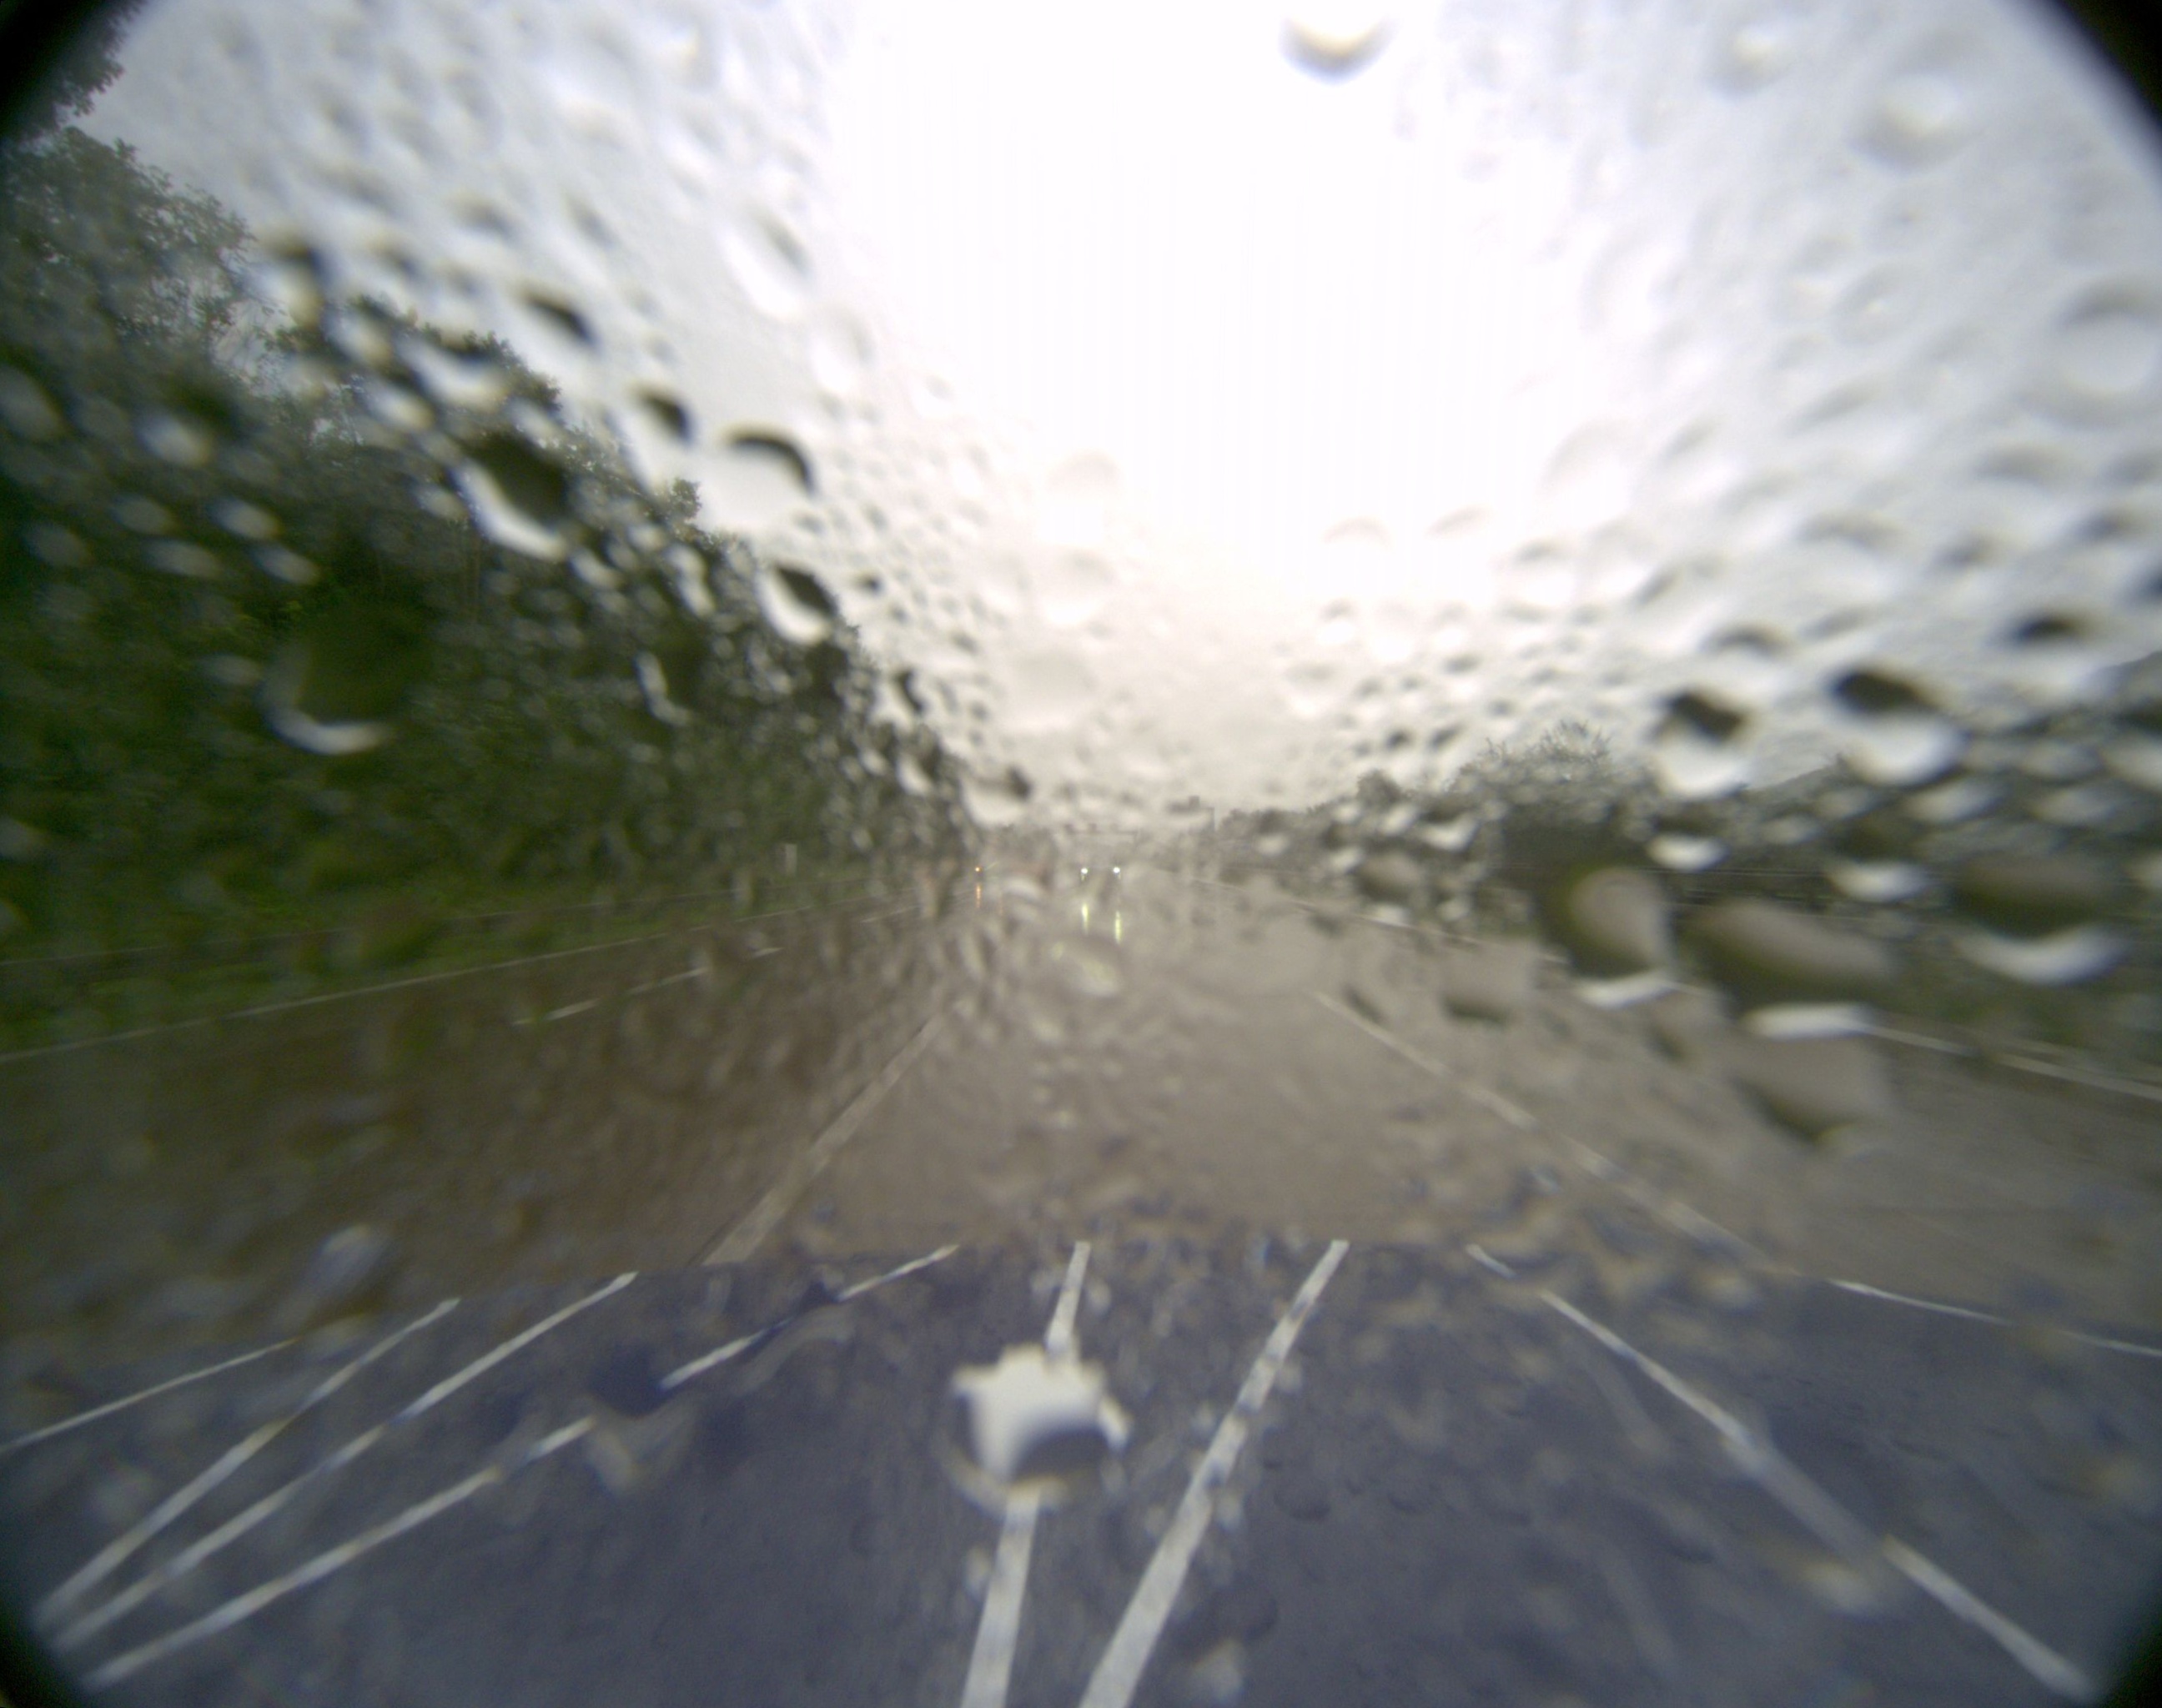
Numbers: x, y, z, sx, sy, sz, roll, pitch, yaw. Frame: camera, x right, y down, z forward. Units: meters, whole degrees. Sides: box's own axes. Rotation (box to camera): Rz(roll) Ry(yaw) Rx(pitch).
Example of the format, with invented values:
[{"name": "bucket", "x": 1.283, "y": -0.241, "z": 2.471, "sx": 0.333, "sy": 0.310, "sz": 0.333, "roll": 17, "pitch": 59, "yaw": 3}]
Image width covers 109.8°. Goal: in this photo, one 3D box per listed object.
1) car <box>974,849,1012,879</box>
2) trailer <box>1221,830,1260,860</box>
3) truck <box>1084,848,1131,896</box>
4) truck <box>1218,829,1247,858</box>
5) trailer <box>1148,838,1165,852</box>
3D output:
[{"name": "car", "x": -6.021, "y": 0.658, "z": 52.483, "sx": 1.859, "sy": 2.002, "sz": 4.001, "roll": -1, "pitch": 0, "yaw": 3}, {"name": "trailer", "x": 23.112, "y": -1.308, "z": 111.012, "sx": 3.363, "sy": 4.149, "sz": 11.401, "roll": -1, "pitch": 0, "yaw": 1}, {"name": "truck", "x": 1.146, "y": 0.739, "z": 35.988, "sx": 1.998, "sy": 2.002, "sz": 7.575, "roll": 0, "pitch": 0, "yaw": 0}, {"name": "truck", "x": 23.173, "y": -1.586, "z": 116.797, "sx": 3.382, "sy": 4.160, "sz": 5.519, "roll": -1, "pitch": 0, "yaw": 1}, {"name": "trailer", "x": 20.084, "y": -2.379, "z": 202.482, "sx": 2.859, "sy": 3.522, "sz": 13.704, "roll": -2, "pitch": 1, "yaw": -1}]
